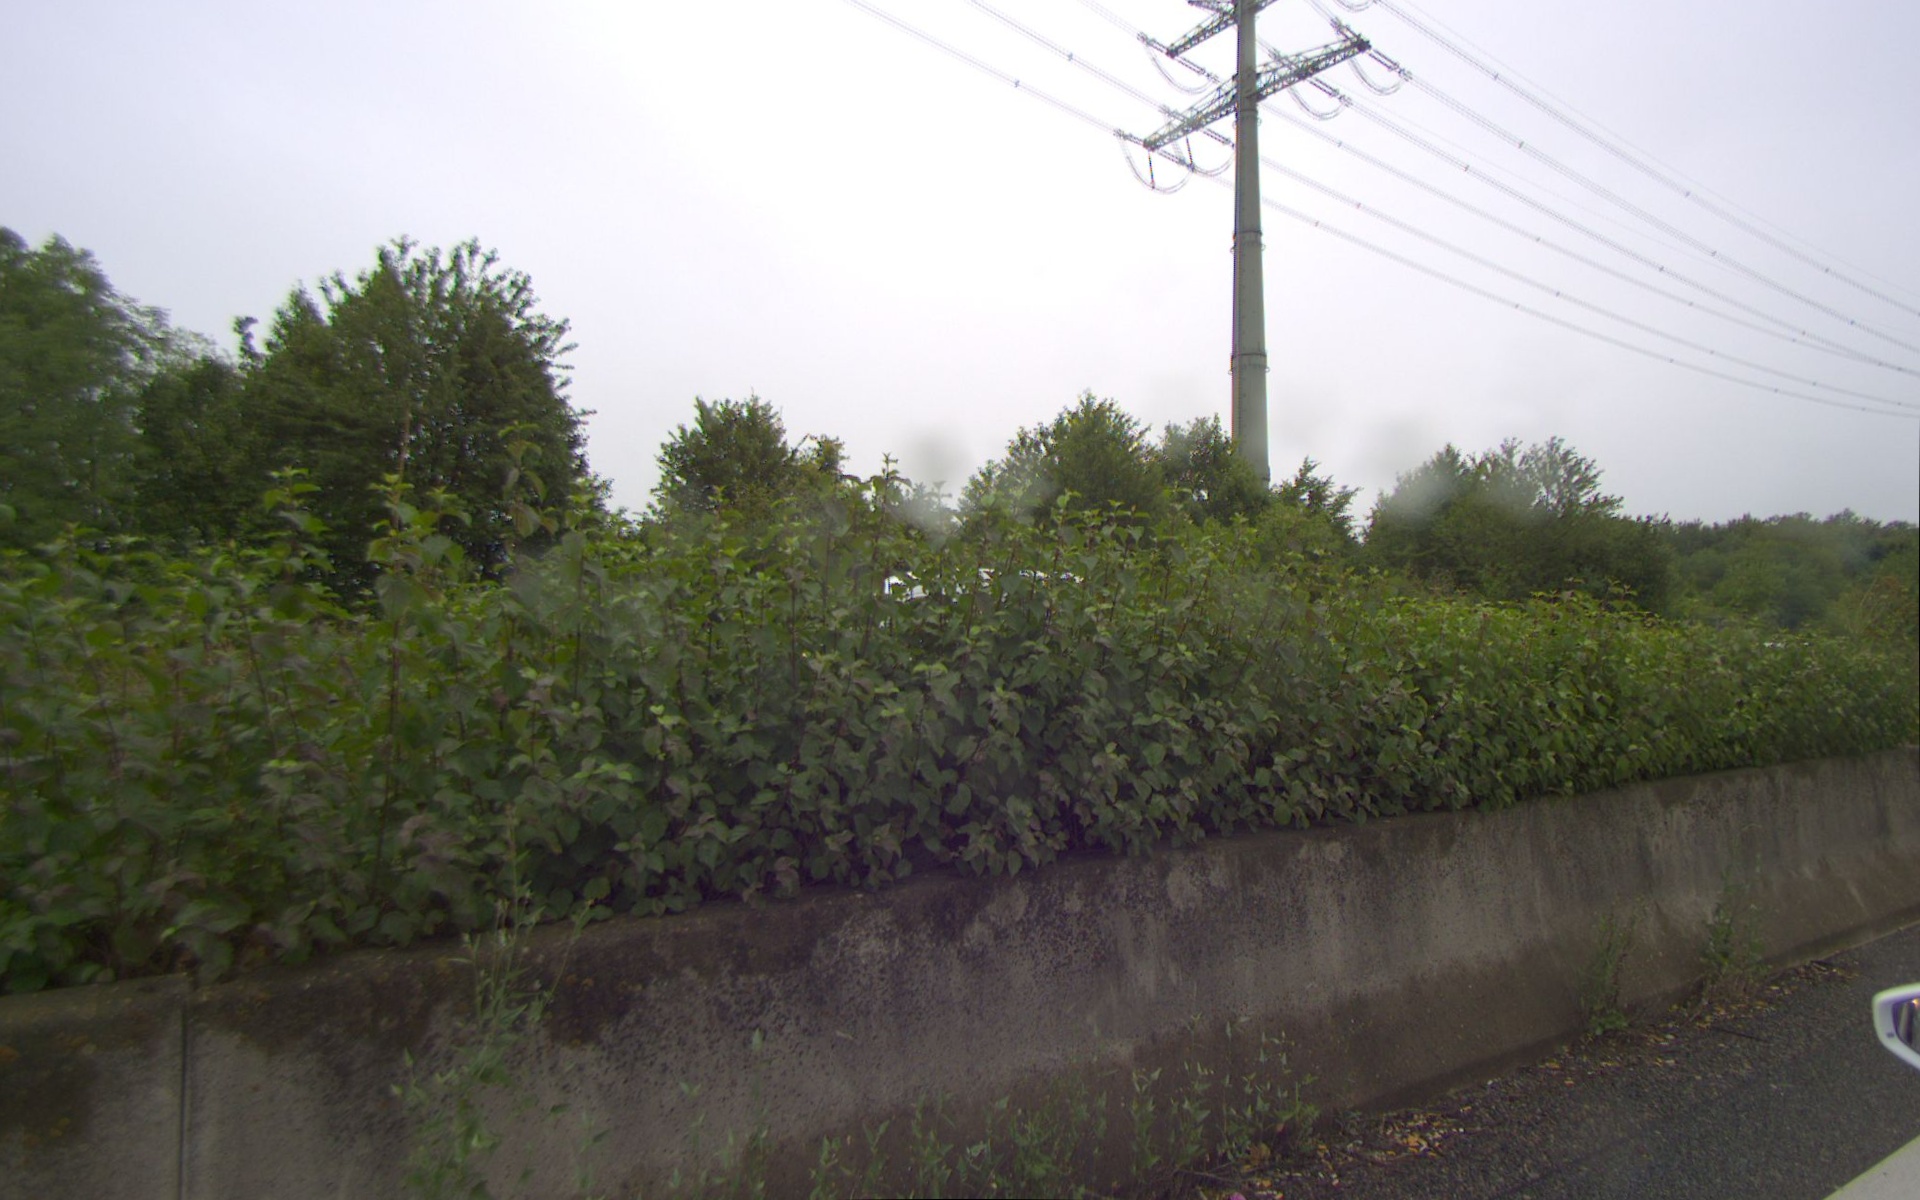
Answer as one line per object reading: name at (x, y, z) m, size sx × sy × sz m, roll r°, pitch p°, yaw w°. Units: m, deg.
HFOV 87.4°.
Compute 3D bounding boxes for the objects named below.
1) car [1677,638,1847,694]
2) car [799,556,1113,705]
car at (19.623, 1.567, 24.557) m, size 3.953 × 1.207 × 1.984 m, roll 1°, pitch -1°, yaw -30°
car at (-0.009, 0.523, 17.712) m, size 5.142 × 2.295 × 2.170 m, roll 1°, pitch -1°, yaw -30°
